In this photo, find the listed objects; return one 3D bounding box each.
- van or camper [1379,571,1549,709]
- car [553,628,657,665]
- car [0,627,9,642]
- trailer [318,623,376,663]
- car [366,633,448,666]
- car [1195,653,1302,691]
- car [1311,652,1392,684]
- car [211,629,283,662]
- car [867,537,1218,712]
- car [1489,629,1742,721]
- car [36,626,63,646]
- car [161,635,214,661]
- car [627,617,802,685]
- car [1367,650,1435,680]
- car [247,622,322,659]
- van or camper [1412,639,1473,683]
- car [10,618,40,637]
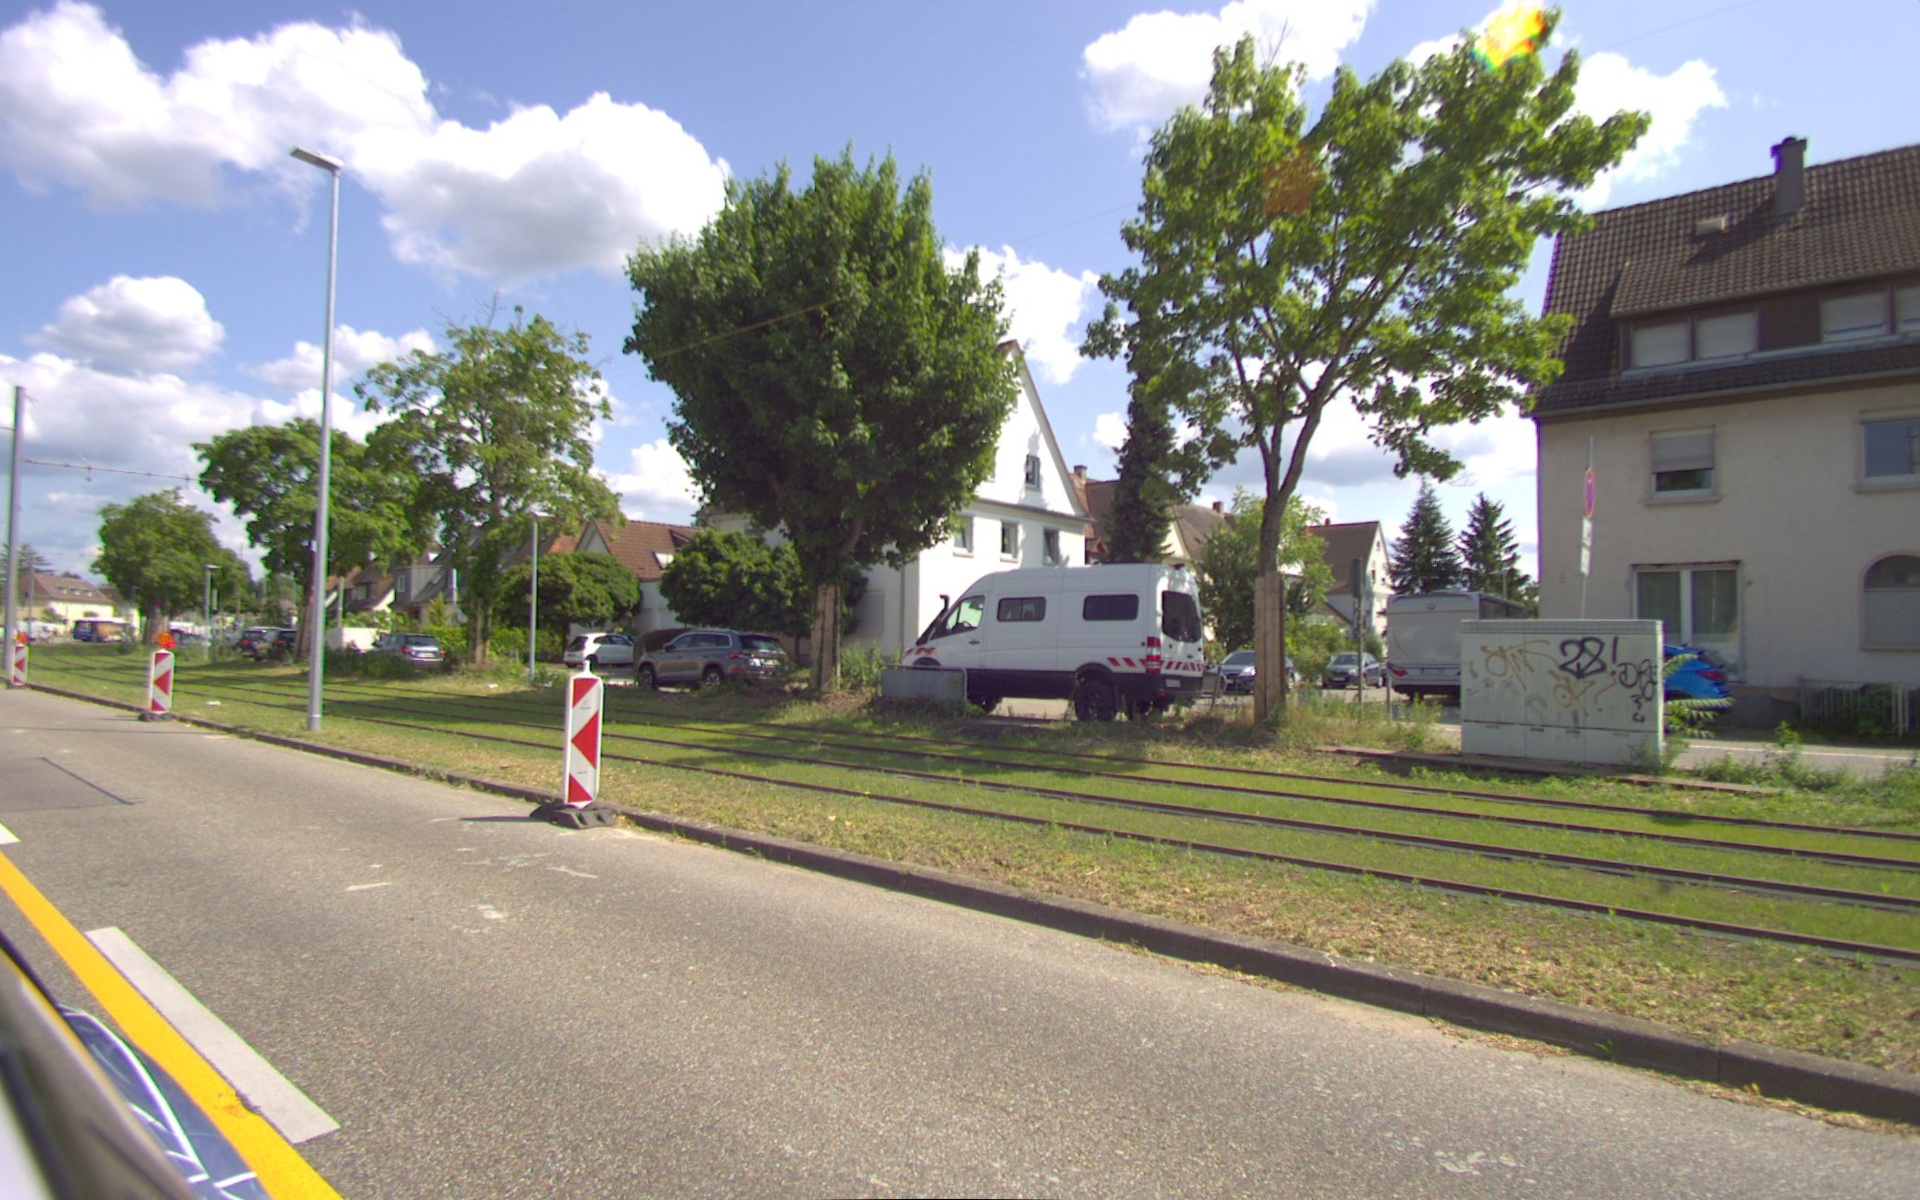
[{"bbox_3d":[13.720,1.124,27.272,2.632,3.246,6.659,-2,-4,40],"label":"van or camper"},{"bbox_3d":[-15.876,2.132,45.375,1.998,1.539,3.946,-4,-6,40],"label":"car"},{"bbox_3d":[-99.369,3.579,104.347,1.490,1.510,3.582,4,-4,-37],"label":"car"},{"bbox_3d":[-24.773,1.730,40.871,2.280,1.530,1.286,-1,-4,40],"label":"trailer"},{"bbox_3d":[-20.509,1.806,37.459,1.759,1.101,3.841,4,-4,-42],"label":"car"},{"bbox_3d":[9.620,2.377,33.572,1.999,1.143,3.946,-1,-4,40],"label":"car"},{"bbox_3d":[16.124,2.778,41.599,1.936,1.211,3.493,-1,-4,43],"label":"car"},{"bbox_3d":[-36.115,2.274,51.213,4.320,1.551,1.972,-1,-4,41],"label":"car"},{"bbox_3d":[1.320,0.503,18.690,6.454,2.751,1.974,-2,-4,39],"label":"car"},{"bbox_3d":[12.886,1.421,20.011,3.998,1.589,1.883,-1,-4,41],"label":"car"},{"bbox_3d":[-113.252,4.533,125.903,1.669,2.450,3.585,2,-3,-30],"label":"car"},{"bbox_3d":[-49.289,3.061,64.547,4.323,1.551,1.971,-1,-4,43],"label":"car"},{"bbox_3d":[-6.156,1.233,25.145,4.484,1.517,1.973,-1,-4,41],"label":"car"},{"bbox_3d":[20.500,3.031,46.976,1.767,1.307,3.944,-1,-4,42],"label":"car"},{"bbox_3d":[-32.058,1.968,47.996,4.098,1.590,1.885,-3,-8,41],"label":"car"},{"bbox_3d":[24.828,3.144,52.007,1.767,2.116,4.179,-1,-4,42],"label":"van or camper"},{"bbox_3d":[-107.848,3.173,116.788,1.812,2.070,3.878,3,-4,-33],"label":"car"}]
